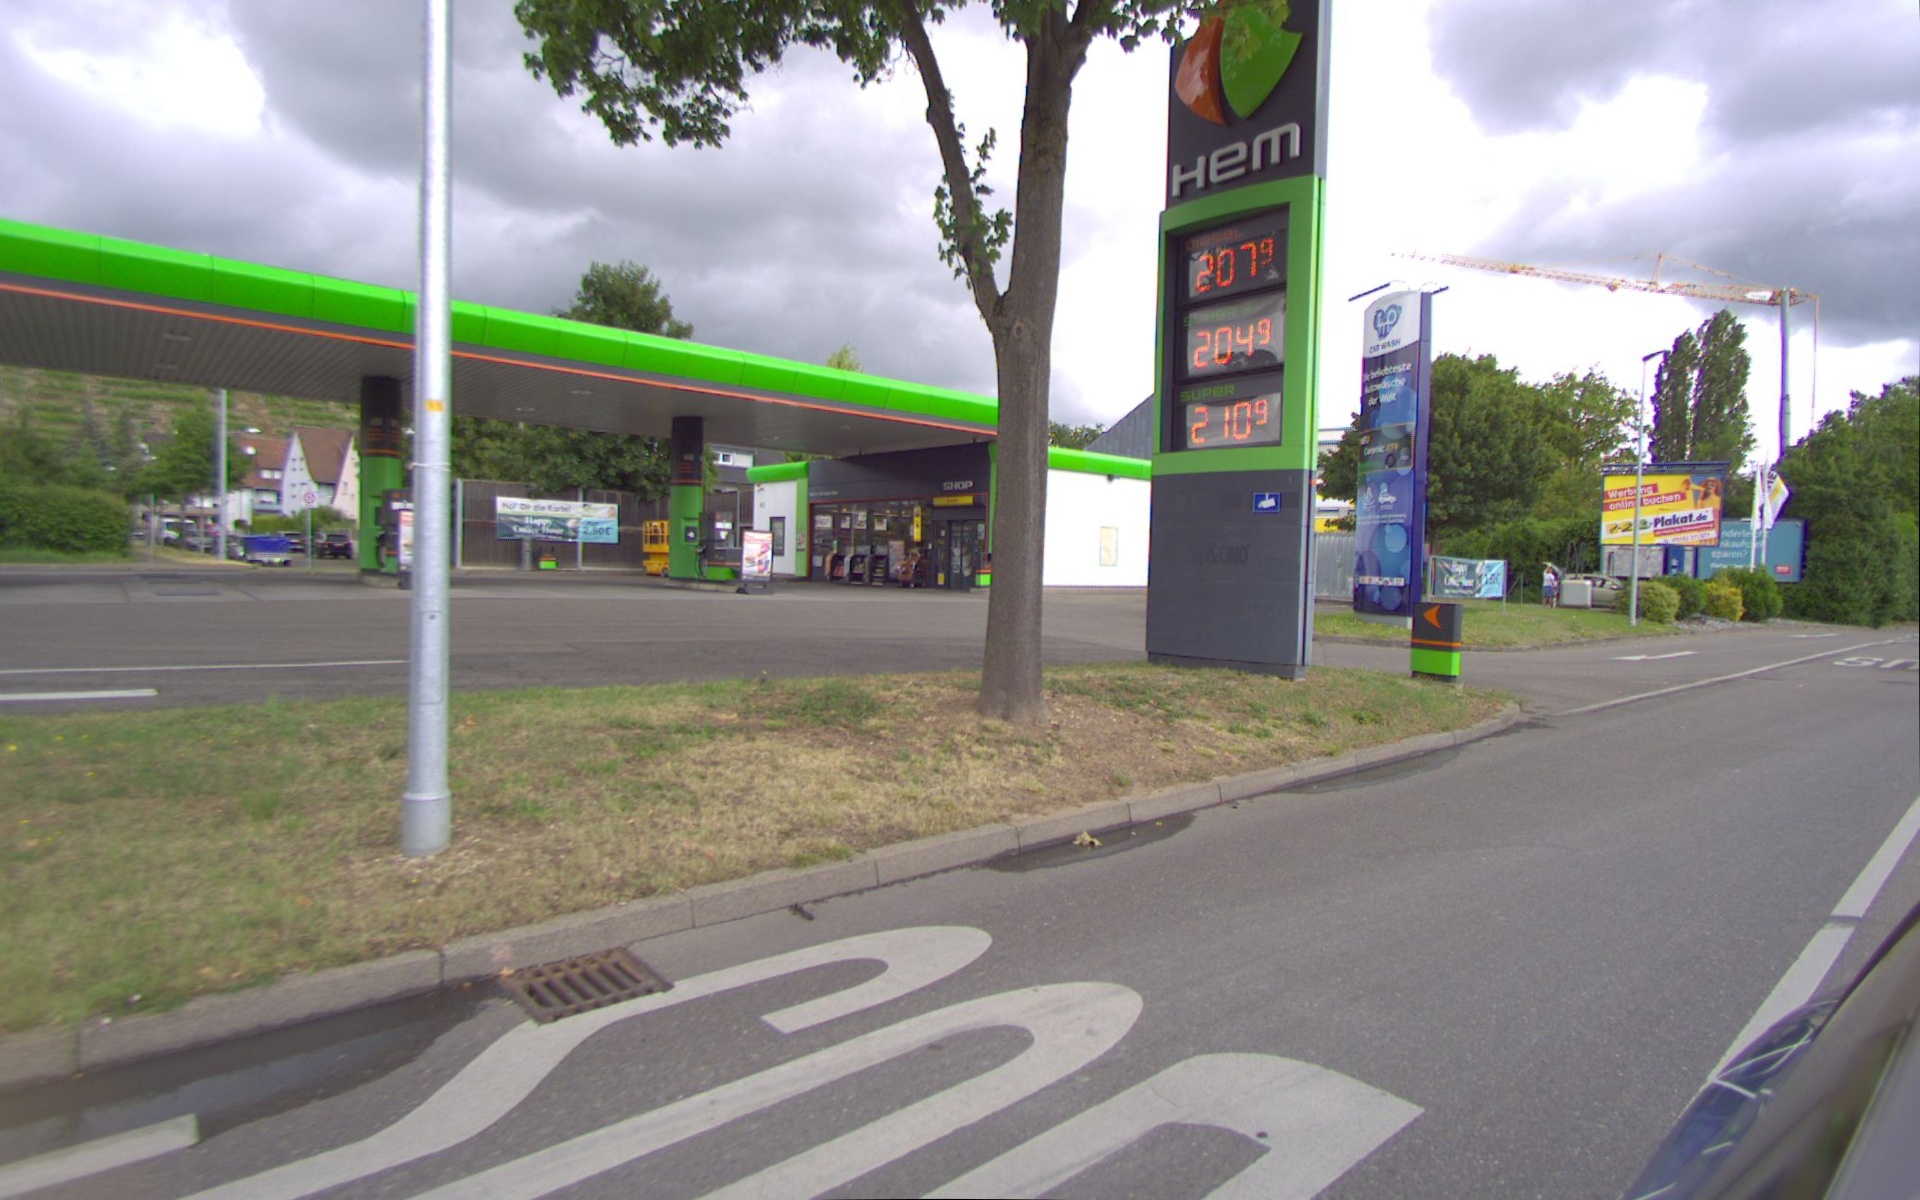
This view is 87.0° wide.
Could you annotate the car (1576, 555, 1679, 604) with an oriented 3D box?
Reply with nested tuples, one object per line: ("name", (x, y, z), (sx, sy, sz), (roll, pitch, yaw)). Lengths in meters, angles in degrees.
("car", (25.610, -0.768, 38.858), (3.228, 1.815, 1.524), (0, 0, 38))

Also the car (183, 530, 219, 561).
("car", (-50.907, -3.641, 67.860), (1.640, 1.898, 3.872), (0, 0, -41))

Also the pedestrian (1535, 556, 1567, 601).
("pedestrian", (23.274, -0.840, 39.898), (1.033, 1.719, 1.066), (0, 0, 29))

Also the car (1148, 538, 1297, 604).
("car", (7.529, -0.837, 28.871), (4.251, 1.658, 1.998), (-1, 5, -41))

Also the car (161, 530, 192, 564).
("car", (-58.912, -3.937, 76.068), (1.640, 2.372, 3.872), (0, 0, -41))

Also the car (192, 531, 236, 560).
("car", (-40.711, -2.930, 55.169), (1.640, 1.422, 3.872), (-1, 0, -41))

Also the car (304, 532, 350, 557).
("car", (-42.443, -3.705, 67.830), (1.966, 1.556, 3.993), (-1, 4, -43))

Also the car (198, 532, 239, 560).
("car", (-43.415, -3.130, 59.216), (1.640, 1.422, 3.872), (-1, 0, -41))

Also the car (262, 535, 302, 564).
("car", (-52.014, -3.848, 77.584), (1.966, 2.039, 3.991), (0, 0, -43))
